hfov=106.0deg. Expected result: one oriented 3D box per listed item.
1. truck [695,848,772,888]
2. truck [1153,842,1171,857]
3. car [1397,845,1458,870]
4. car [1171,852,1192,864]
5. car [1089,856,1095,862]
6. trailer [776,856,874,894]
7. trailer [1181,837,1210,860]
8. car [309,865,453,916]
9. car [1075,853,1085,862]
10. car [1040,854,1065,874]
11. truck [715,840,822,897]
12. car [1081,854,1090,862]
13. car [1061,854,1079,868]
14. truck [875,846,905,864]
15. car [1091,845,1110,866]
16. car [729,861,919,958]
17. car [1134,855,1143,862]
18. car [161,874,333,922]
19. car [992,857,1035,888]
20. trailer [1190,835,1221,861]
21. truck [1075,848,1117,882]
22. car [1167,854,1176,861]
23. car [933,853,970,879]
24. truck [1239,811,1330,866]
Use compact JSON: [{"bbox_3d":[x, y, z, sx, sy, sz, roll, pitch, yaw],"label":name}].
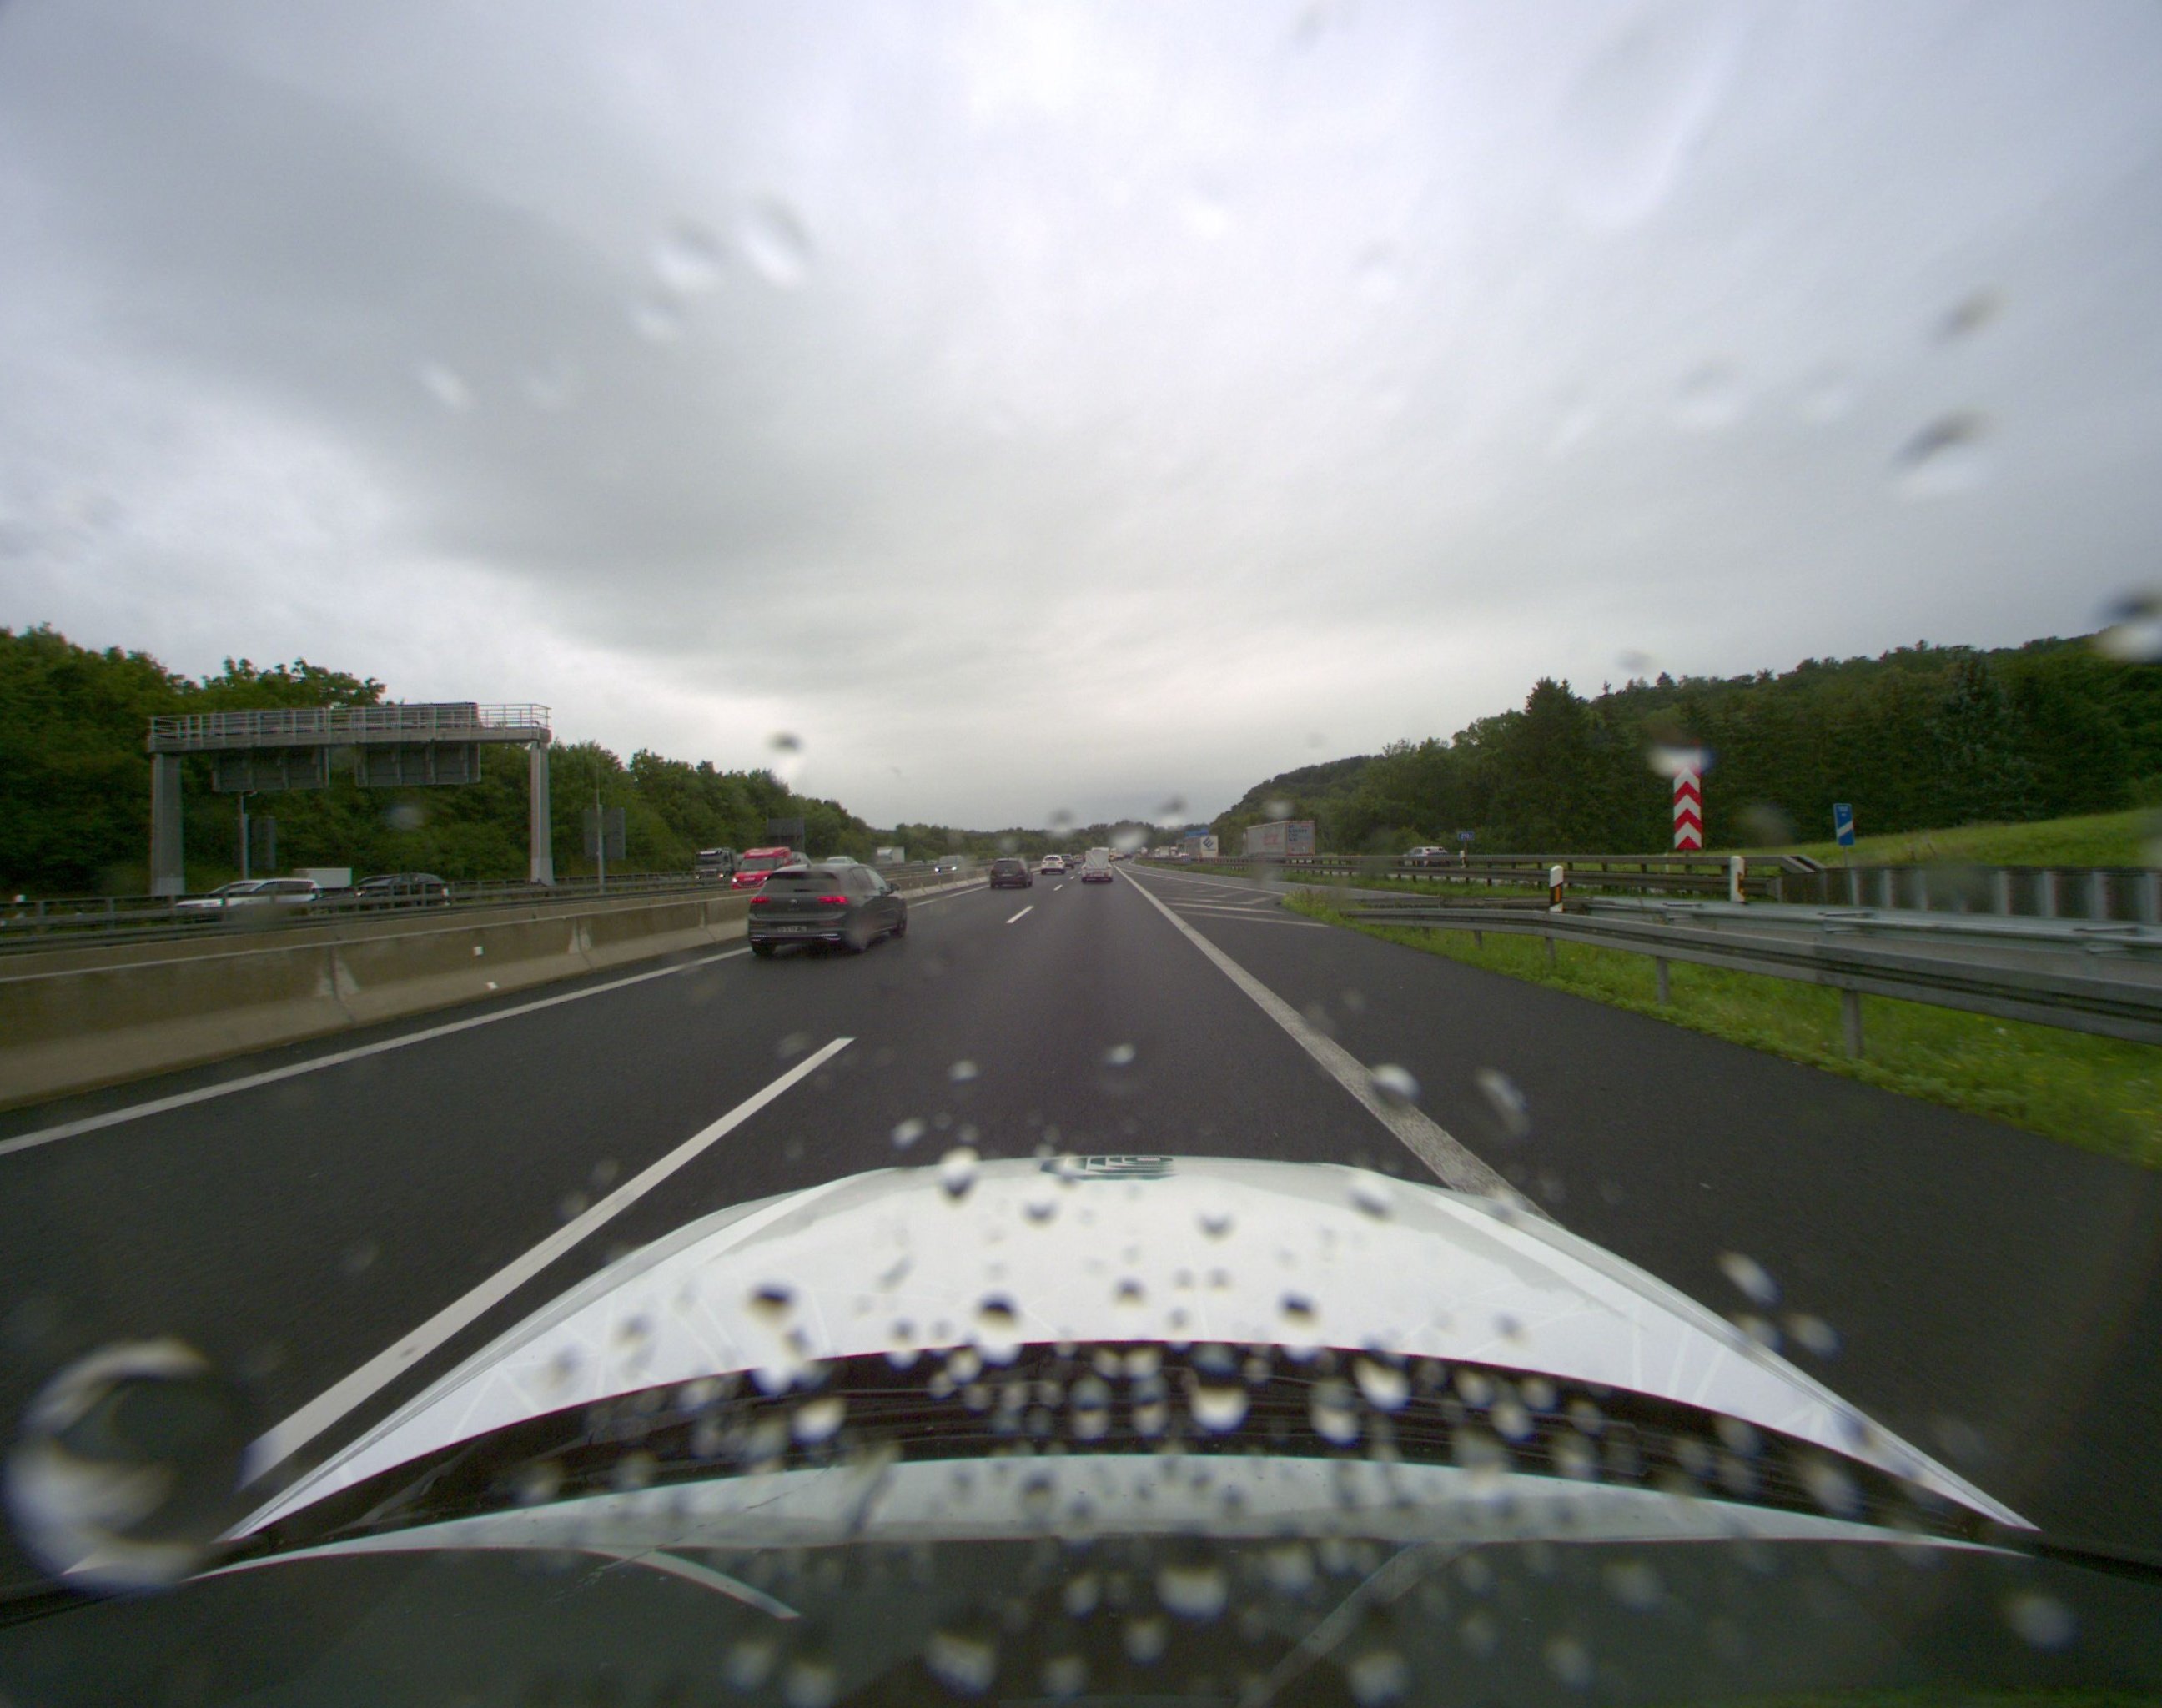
[{"bbox_3d":[-29.754,1.105,70.196,2.503,3.145,8.852,-2,0,2],"label":"truck"},{"bbox_3d":[21.390,-1.145,215.591,3.815,3.659,8.264,0,0,-2],"label":"truck"},{"bbox_3d":[23.008,0.219,54.323,1.814,1.504,5.028,-1,0,-2],"label":"car"},{"bbox_3d":[14.203,0.640,115.668,1.990,1.616,5.070,-1,0,-5],"label":"car"},{"bbox_3d":[2.911,1.377,217.407,1.639,1.574,4.002,0,0,2],"label":"car"},{"bbox_3d":[-15.382,1.178,49.890,2.527,2.013,10.247,-2,0,1],"label":"trailer"},{"bbox_3d":[17.527,-0.781,125.274,2.931,3.527,8.412,0,0,-2],"label":"trailer"},{"bbox_3d":[-27.232,1.365,31.901,1.827,1.789,4.187,-2,0,3],"label":"car"},{"bbox_3d":[-0.218,0.643,150.970,1.732,1.794,4.001,-1,0,1],"label":"car"},{"bbox_3d":[-2.472,0.845,69.796,2.044,1.670,4.535,-1,0,-4],"label":"car"},{"bbox_3d":[-15.569,0.685,41.155,2.417,2.594,7.095,-1,0,2],"label":"truck"},{"bbox_3d":[0.946,0.953,183.050,1.812,1.662,4.019,-1,0,2],"label":"car"},{"bbox_3d":[-1.273,0.846,98.278,1.969,1.703,4.803,0,0,1],"label":"car"},{"bbox_3d":[-31.623,0.196,134.936,2.729,2.872,8.542,-2,0,1],"label":"truck"},{"bbox_3d":[2.536,0.206,107.968,2.324,2.725,6.538,-1,0,0],"label":"car"},{"bbox_3d":[-4.291,0.852,14.405,1.823,1.425,4.369,-1,0,2],"label":"car"},{"bbox_3d":[12.444,0.928,176.121,1.639,1.574,4.002,0,0,2],"label":"car"},{"bbox_3d":[-30.992,1.581,30.488,1.986,1.530,4.214,-2,0,2],"label":"car"},{"bbox_3d":[-3.345,0.876,41.044,1.782,1.459,4.801,-1,0,0],"label":"car"},{"bbox_3d":[17.845,-0.822,116.997,3.070,3.527,8.079,0,0,-2],"label":"trailer"},{"bbox_3d":[0.893,0.627,47.558,2.234,1.839,6.586,-1,-1,1],"label":"truck"},{"bbox_3d":[19.355,0.791,174.785,1.639,1.574,4.002,0,0,2],"label":"car"},{"bbox_3d":[-10.817,0.957,68.517,1.985,2.013,5.103,-2,0,3],"label":"car"},{"bbox_3d":[18.810,-1.250,77.143,3.811,4.540,16.870,-1,0,-2],"label":"truck"}]
